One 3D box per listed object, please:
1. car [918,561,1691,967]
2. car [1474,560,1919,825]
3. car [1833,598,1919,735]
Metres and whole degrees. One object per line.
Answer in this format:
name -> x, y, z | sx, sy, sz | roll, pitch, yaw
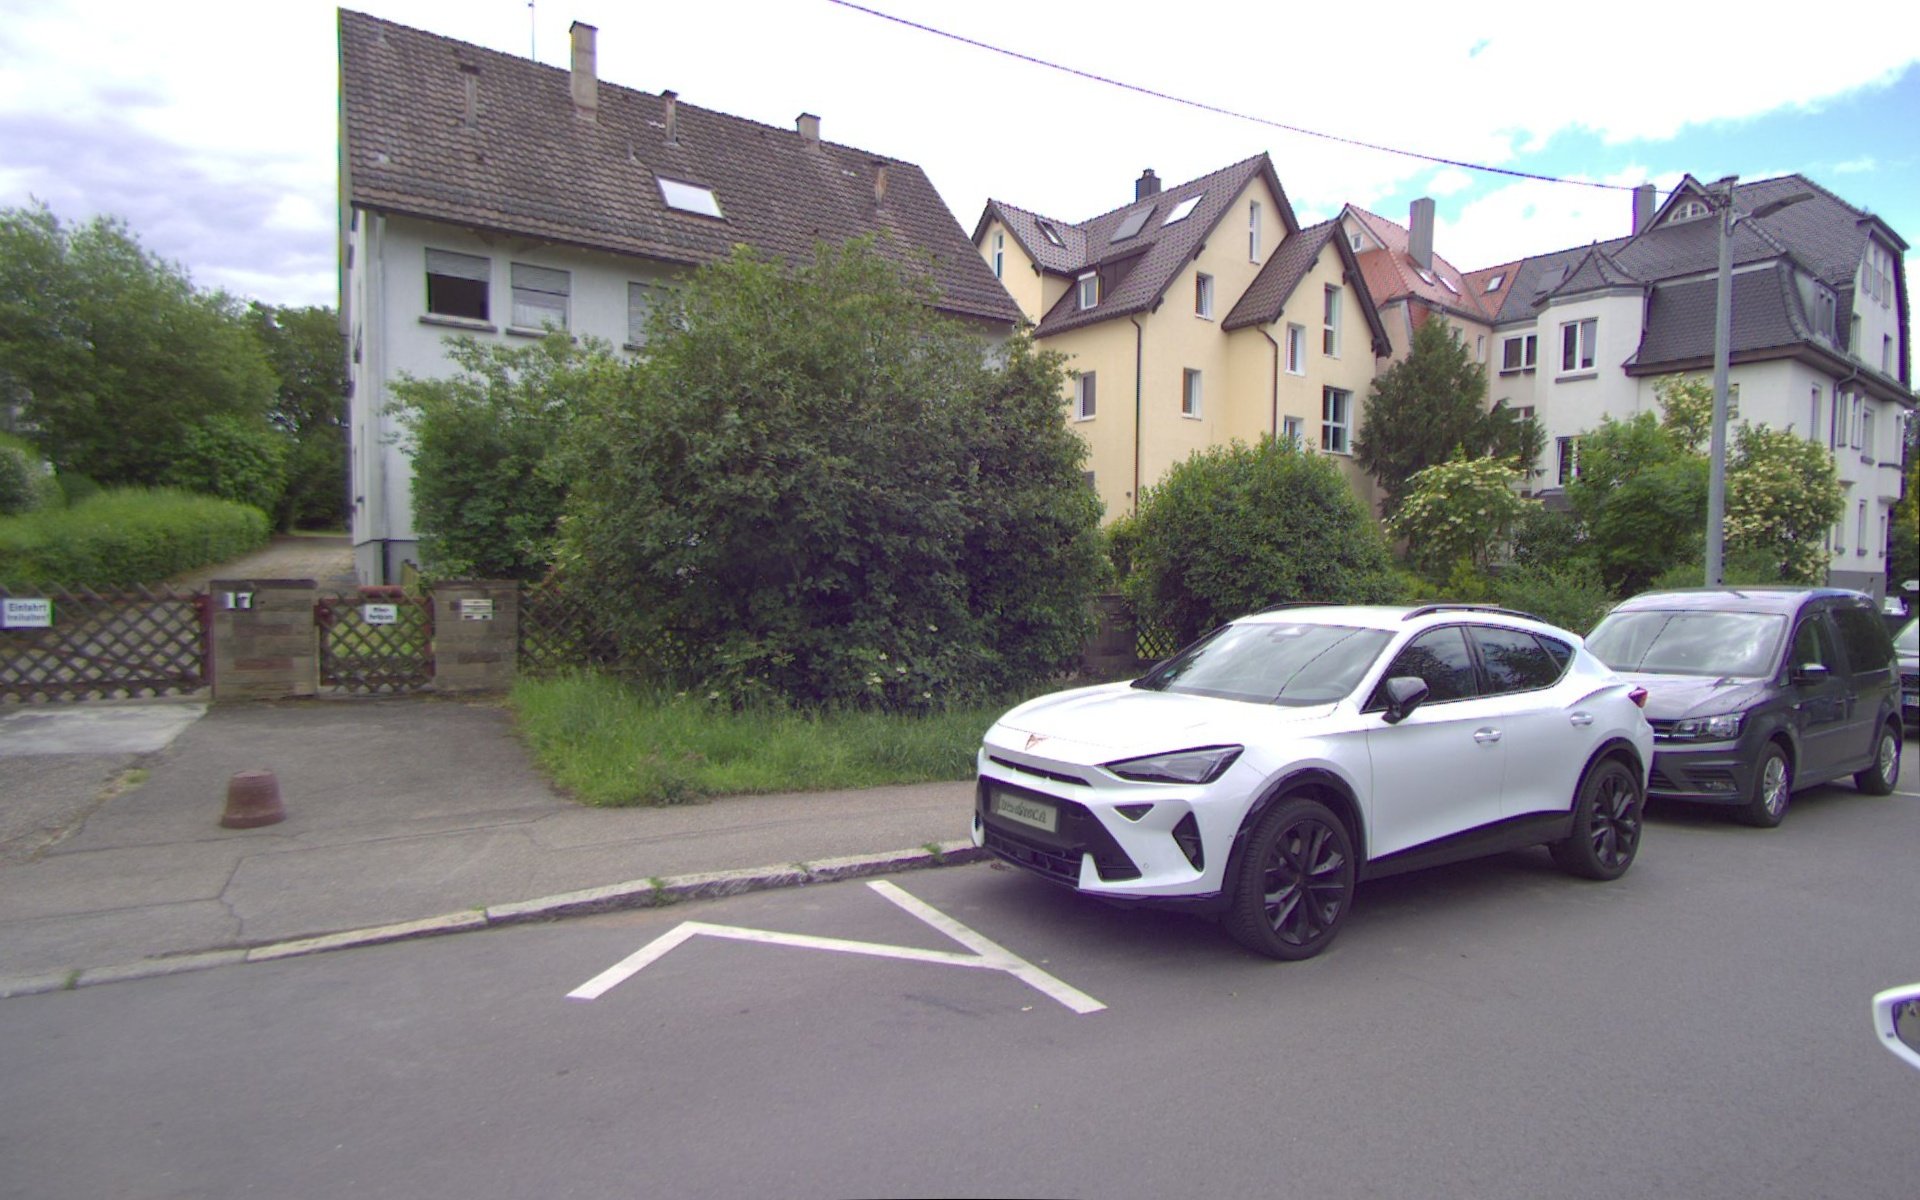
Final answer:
car -> 2.091, 0.627, 5.633 | 4.364, 1.512, 1.715 | 1, 1, -32
car -> 6.523, 0.635, 8.704 | 4.367, 1.788, 1.733 | 1, 1, -34
car -> 13.423, 0.848, 13.271 | 4.179, 1.637, 1.804 | 1, 1, -34
